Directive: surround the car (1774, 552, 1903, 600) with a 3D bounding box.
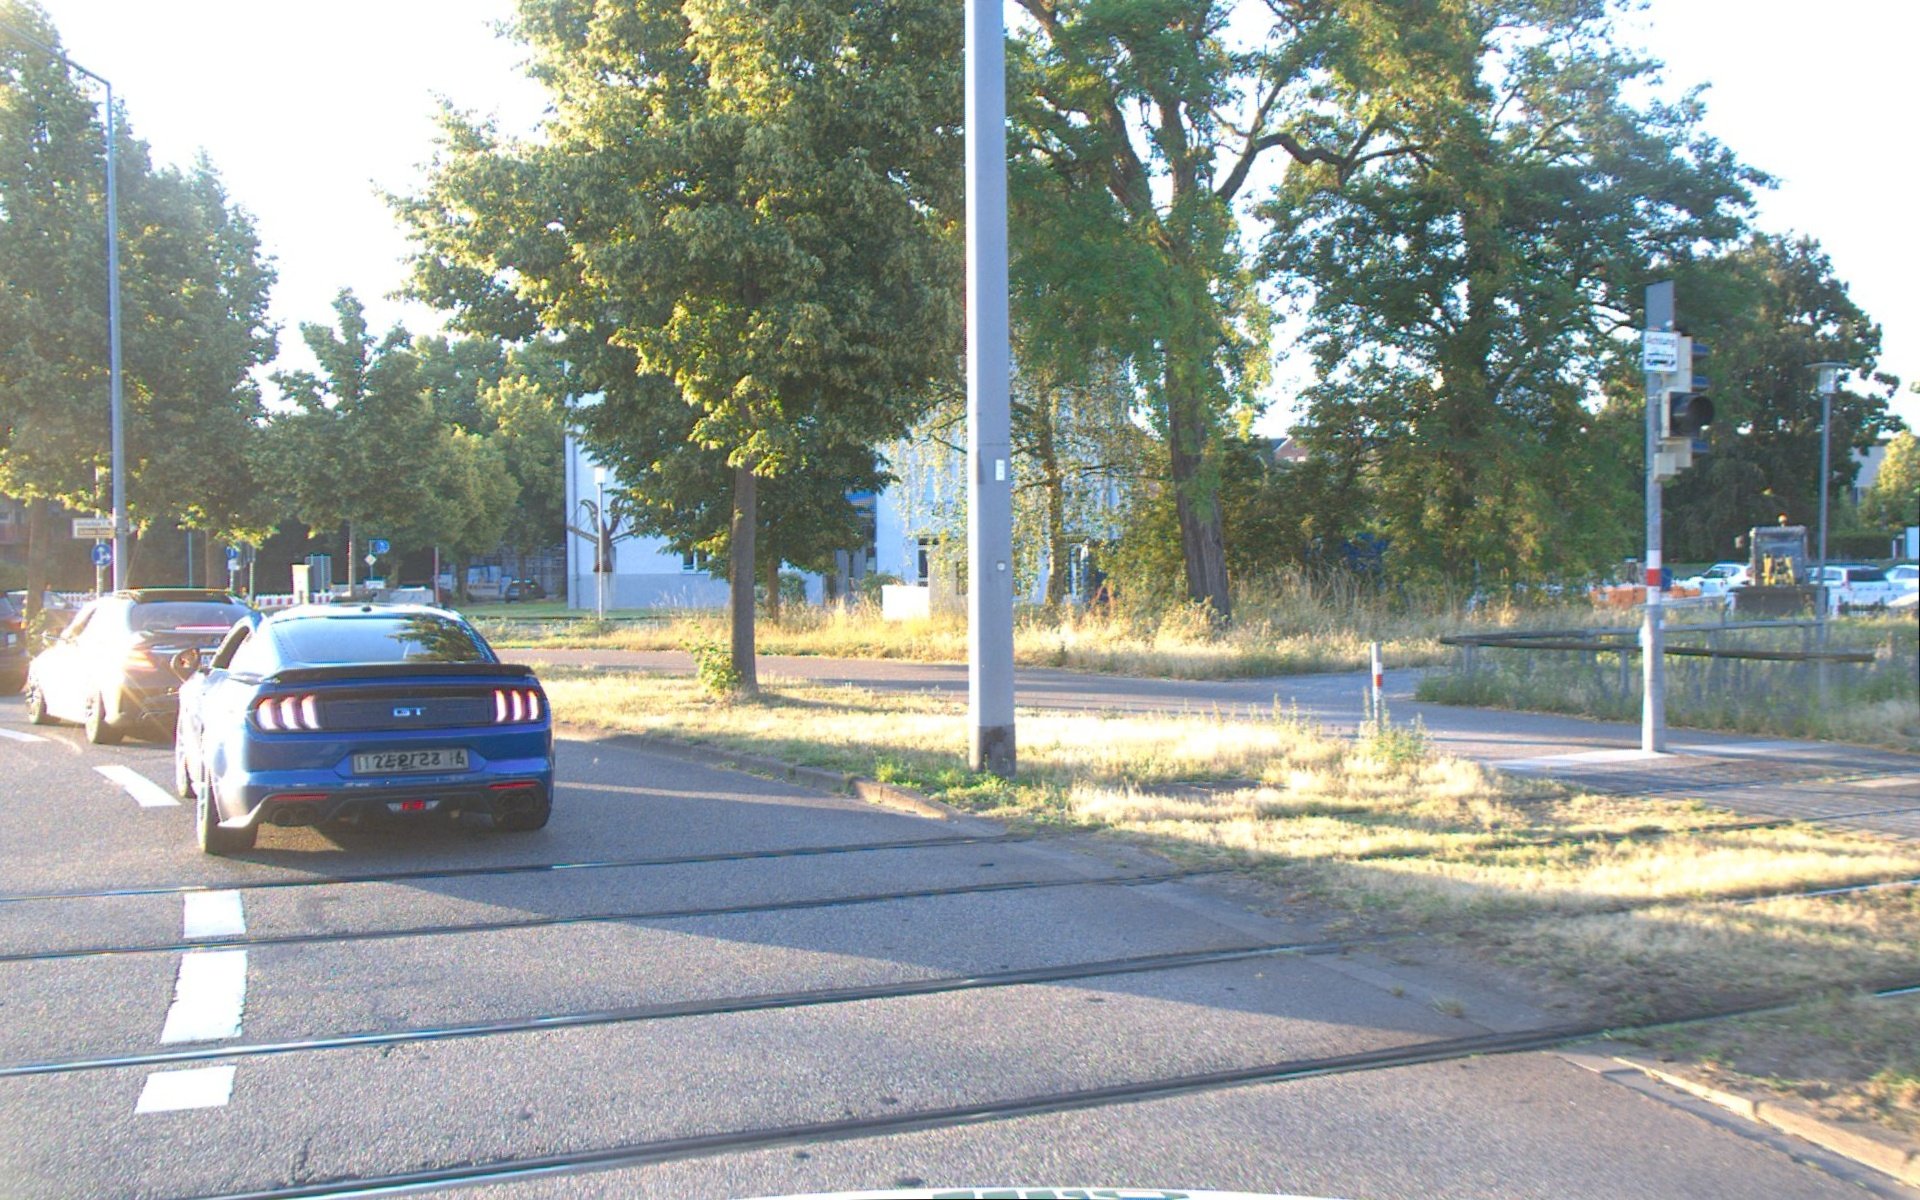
[{"bbox_3d":[28.483,-0.779,53.760,1.908,1.470,3.998,-1,1,-3],"label":"car"}]

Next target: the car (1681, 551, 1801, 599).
[{"bbox_3d":[25.474,-0.816,54.107,1.908,1.470,3.998,-1,1,-3],"label":"car"}]

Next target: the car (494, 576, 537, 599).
[{"bbox_3d":[-29.652,-0.863,110.432,1.838,1.426,3.916,-1,2,-1],"label":"car"}]

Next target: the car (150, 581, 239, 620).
[{"bbox_3d":[-31.127,-0.006,67.389,1.838,1.426,3.916,-1,2,-1],"label":"car"}]

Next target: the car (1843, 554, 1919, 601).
[{"bbox_3d":[30.628,-0.745,53.433,1.908,1.470,3.998,-1,1,-3],"label":"car"}]

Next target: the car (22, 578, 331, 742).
[{"bbox_3d":[-8.163,0.532,17.017,1.938,1.452,4.367,0,0,-39],"label":"car"}]

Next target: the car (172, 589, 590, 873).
[{"bbox_3d":[-3.930,0.628,10.654,1.929,1.365,4.629,0,1,-27],"label":"car"}]

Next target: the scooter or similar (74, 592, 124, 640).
[{"bbox_3d":[-23.377,0.427,44.929,0.434,1.260,1.118,0,1,40],"label":"scooter or similar"}]

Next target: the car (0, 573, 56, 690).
[{"bbox_3d":[-15.128,0.459,24.007,3.993,1.630,1.951,-1,0,35],"label":"car"}]
